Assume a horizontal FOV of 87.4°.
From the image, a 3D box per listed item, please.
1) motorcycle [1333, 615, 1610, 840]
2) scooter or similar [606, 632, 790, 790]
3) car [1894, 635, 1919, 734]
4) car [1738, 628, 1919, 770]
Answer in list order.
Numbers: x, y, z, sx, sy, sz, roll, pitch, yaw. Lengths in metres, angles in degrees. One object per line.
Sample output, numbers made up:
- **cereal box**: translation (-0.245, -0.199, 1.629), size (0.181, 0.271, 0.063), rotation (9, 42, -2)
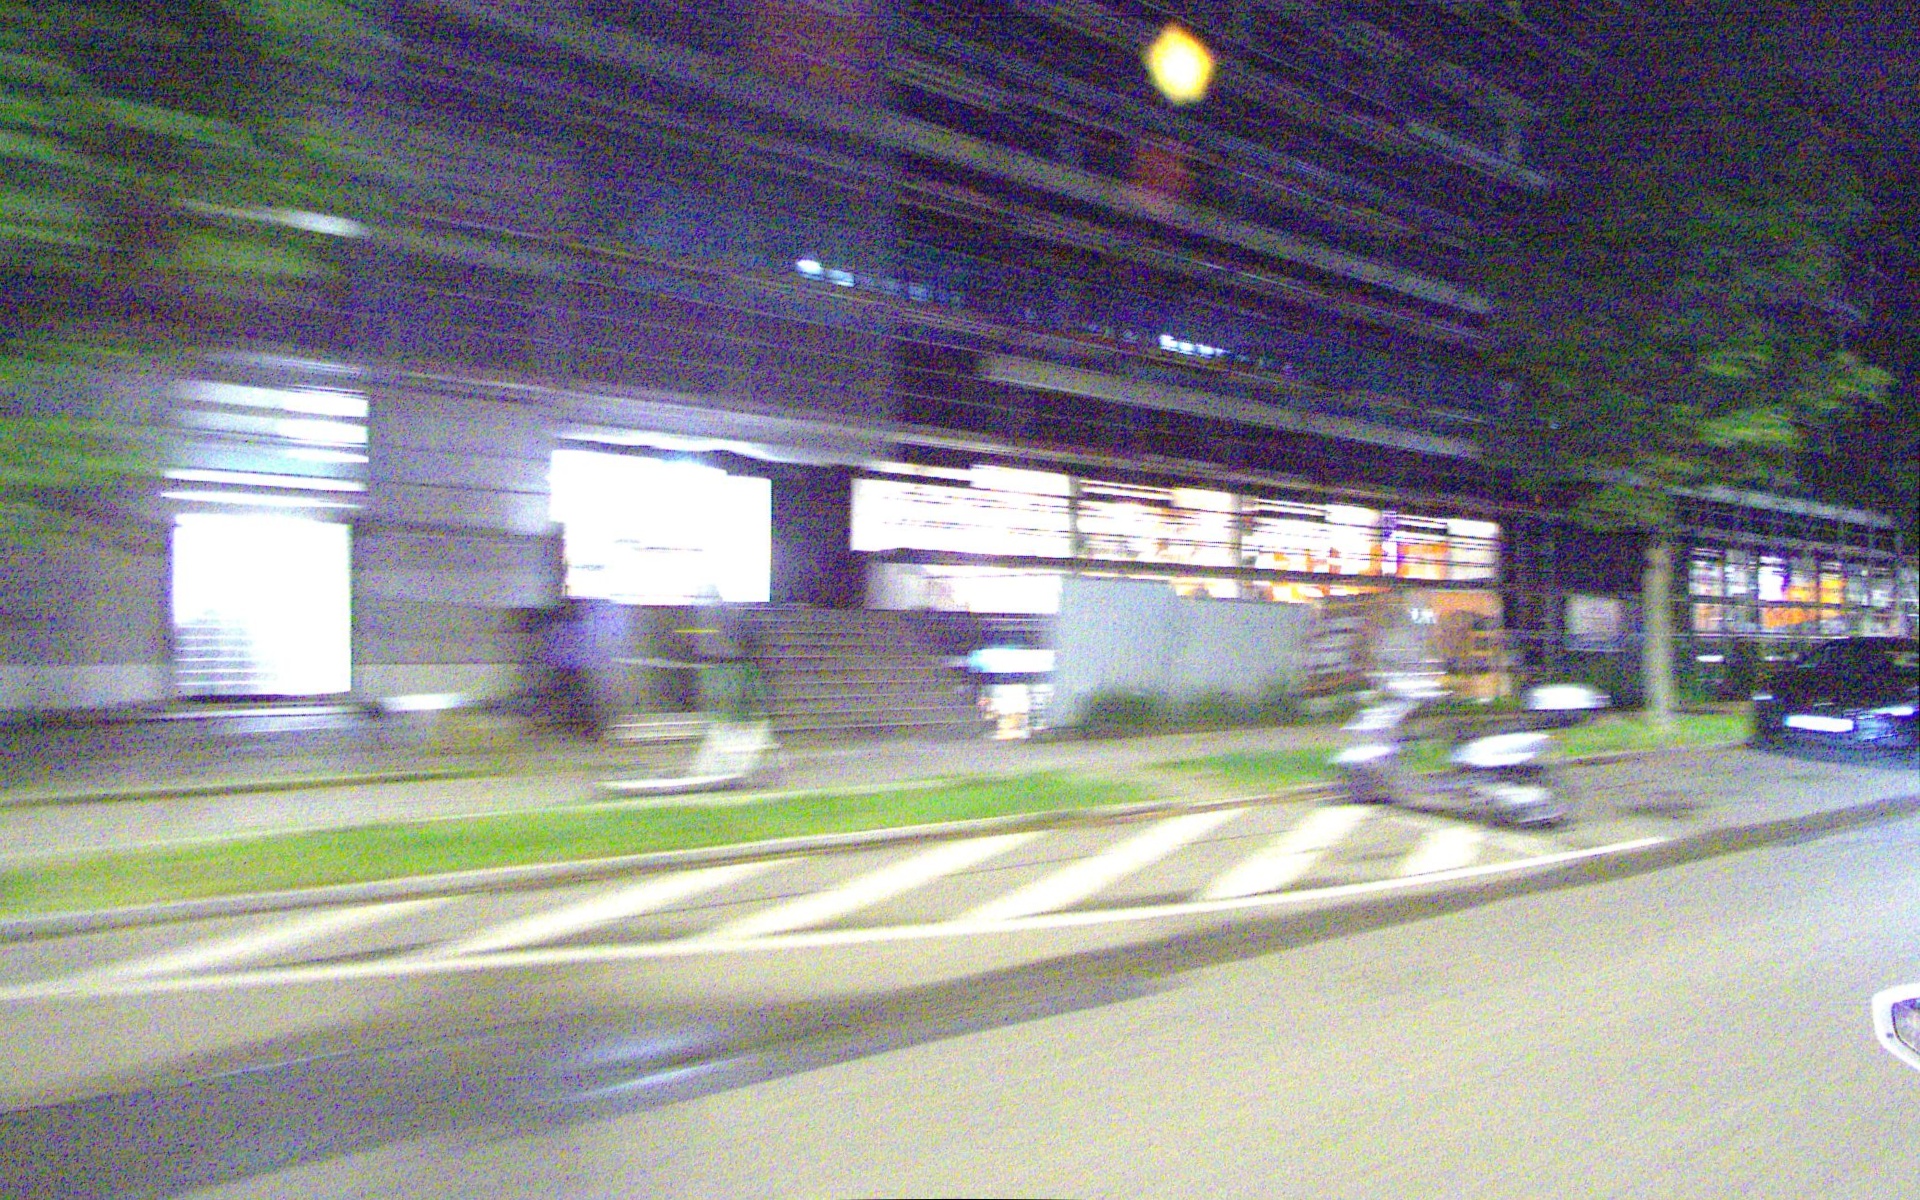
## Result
- **motorcycle**: translation (4.104, 0.945, 8.165), size (1.880, 1.570, 0.636), rotation (2, 1, 41)
- **scooter or similar**: translation (-2.146, 0.885, 8.310), size (1.411, 1.220, 0.365), rotation (2, -2, -30)
- **car**: translation (16.117, 1.311, 15.520), size (3.859, 1.449, 1.437), rotation (1, 1, -31)
- **car**: translation (11.949, 1.172, 13.033), size (3.859, 1.524, 1.634), rotation (1, 1, -31)
